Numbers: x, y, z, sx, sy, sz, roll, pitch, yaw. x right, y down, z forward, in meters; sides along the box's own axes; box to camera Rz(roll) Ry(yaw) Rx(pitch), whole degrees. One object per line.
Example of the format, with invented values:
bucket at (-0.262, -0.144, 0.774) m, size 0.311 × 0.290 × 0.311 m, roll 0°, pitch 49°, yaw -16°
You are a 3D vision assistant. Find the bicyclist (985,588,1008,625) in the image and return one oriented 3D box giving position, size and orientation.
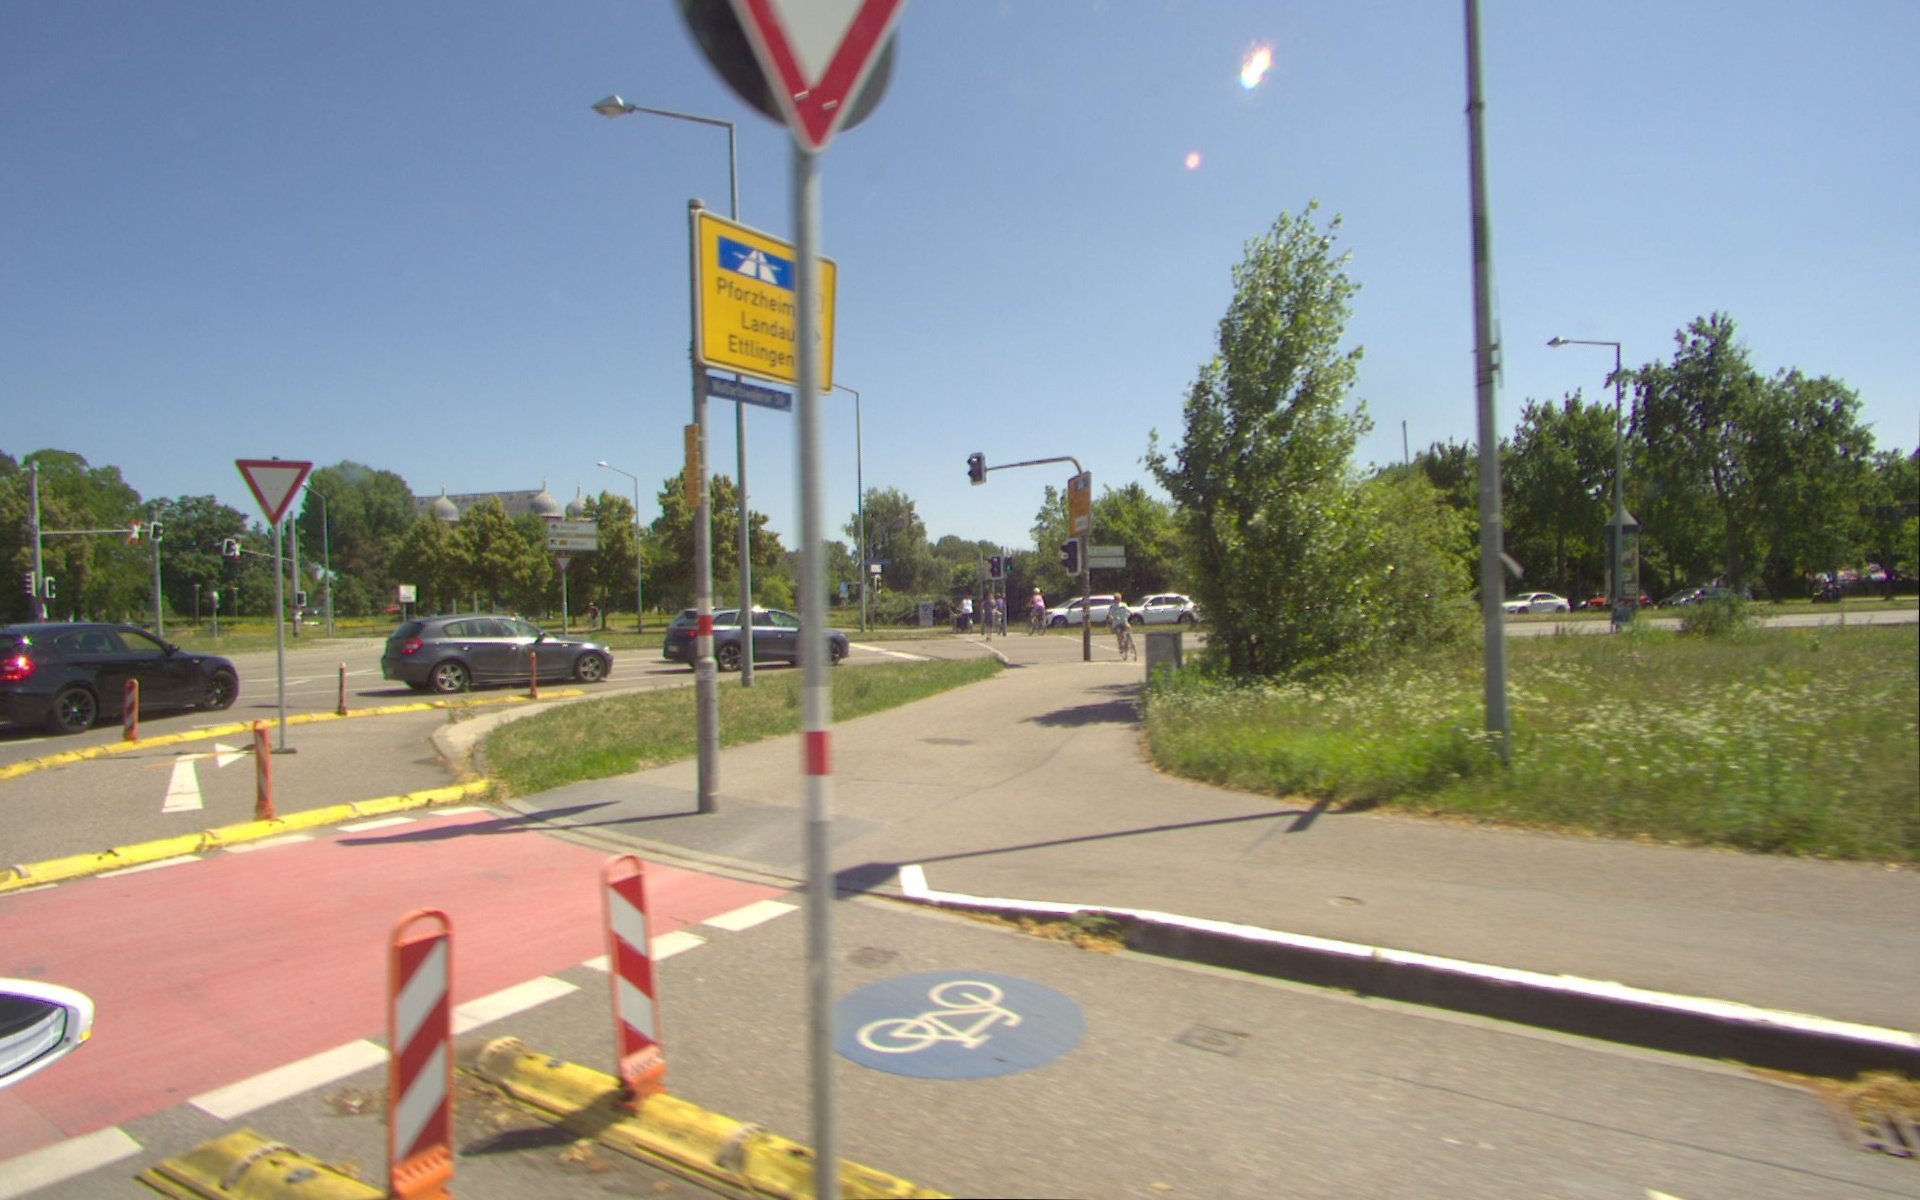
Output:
bicyclist at (1.557, 0.266, 42.594) m, size 0.941 × 1.552 × 1.185 m, roll -1°, pitch 2°, yaw 4°

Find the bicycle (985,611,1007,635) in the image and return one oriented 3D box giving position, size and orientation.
bicycle at (1.539, 0.961, 42.546) m, size 0.881 × 0.913 × 1.761 m, roll 1°, pitch 2°, yaw 5°

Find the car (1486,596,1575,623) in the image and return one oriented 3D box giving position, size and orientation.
car at (32.121, 0.541, 56.392) m, size 4.328 × 1.441 × 1.862 m, roll -1°, pitch 0°, yaw -15°

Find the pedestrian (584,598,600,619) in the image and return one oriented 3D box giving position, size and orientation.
pedestrian at (-25.958, 0.584, 70.677) m, size 0.804 × 1.469 × 0.708 m, roll -1°, pitch -1°, yaw 23°

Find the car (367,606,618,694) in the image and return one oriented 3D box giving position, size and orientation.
car at (-8.934, 0.875, 19.358) m, size 1.734 × 1.422 × 4.043 m, roll 1°, pitch 1°, yaw 43°

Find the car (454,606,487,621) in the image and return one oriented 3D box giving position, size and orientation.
car at (-67.557, 1.885, 138.245) m, size 3.930 × 2.039 × 1.997 m, roll 0°, pitch -1°, yaw -18°

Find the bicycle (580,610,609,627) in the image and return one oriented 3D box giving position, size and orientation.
bicycle at (-25.800, 1.303, 70.698) m, size 2.024 × 1.129 × 0.728 m, roll -1°, pitch -1°, yaw 23°

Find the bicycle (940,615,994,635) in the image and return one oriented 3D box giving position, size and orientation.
bicycle at (0.299, 1.178, 46.537) m, size 0.733 × 0.924 × 2.902 m, roll 0°, pitch -2°, yaw -43°

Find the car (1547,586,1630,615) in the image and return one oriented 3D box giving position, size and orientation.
car at (38.546, 0.027, 61.465) m, size 4.328 × 1.706 × 1.862 m, roll -1°, pitch 0°, yaw -15°

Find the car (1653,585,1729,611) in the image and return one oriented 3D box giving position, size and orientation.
car at (43.376, -0.091, 59.455) m, size 3.729 × 1.494 × 1.719 m, roll 0°, pitch -1°, yaw -16°

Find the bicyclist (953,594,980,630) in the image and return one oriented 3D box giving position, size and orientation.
bicyclist at (0.304, 0.561, 46.531) m, size 0.749 × 1.635 × 0.969 m, roll 0°, pitch -1°, yaw -44°

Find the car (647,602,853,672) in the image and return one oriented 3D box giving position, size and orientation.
car at (-4.945, 0.817, 23.879) m, size 4.403 × 1.437 × 1.984 m, roll -1°, pitch 1°, yaw -39°

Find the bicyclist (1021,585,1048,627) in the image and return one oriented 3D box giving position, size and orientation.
bicyclist at (3.003, 0.250, 40.495) m, size 0.941 × 1.631 × 1.186 m, roll -1°, pitch 0°, yaw -1°

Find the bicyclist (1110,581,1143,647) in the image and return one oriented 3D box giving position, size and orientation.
bicyclist at (4.316, 0.361, 25.979) m, size 0.734 × 1.662 × 1.162 m, roll -1°, pitch 1°, yaw 6°

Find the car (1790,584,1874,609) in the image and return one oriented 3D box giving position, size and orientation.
car at (54.476, -0.221, 62.574) m, size 4.328 × 1.441 × 1.862 m, roll -1°, pitch 0°, yaw -15°

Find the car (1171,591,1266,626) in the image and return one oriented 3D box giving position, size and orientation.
car at (13.162, 0.421, 50.976) m, size 4.328 × 1.706 × 1.862 m, roll -1°, pitch 0°, yaw -15°

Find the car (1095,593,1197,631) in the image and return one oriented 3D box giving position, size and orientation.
car at (8.737, 0.548, 47.066) m, size 4.328 × 1.706 × 1.862 m, roll -1°, pitch 0°, yaw -15°

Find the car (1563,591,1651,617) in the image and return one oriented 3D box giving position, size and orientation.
car at (37.518, 0.204, 58.045) m, size 4.328 × 1.441 × 1.862 m, roll -1°, pitch 0°, yaw -15°

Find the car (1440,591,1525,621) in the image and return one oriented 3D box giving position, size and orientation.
car at (30.940, 0.362, 59.332) m, size 4.328 × 1.706 × 1.862 m, roll -1°, pitch 0°, yaw -15°

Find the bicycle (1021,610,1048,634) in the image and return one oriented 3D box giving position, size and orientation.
bicycle at (3.014, 0.892, 40.623) m, size 0.881 × 0.912 × 2.226 m, roll 0°, pitch -1°, yaw -1°

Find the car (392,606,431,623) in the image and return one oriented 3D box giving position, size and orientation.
car at (-69.385, 1.824, 126.677) m, size 3.930 × 2.039 × 1.997 m, roll 0°, pitch -1°, yaw -18°

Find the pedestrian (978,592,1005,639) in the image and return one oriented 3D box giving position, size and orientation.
pedestrian at (1.125, 0.569, 36.218) m, size 0.743 × 1.658 × 0.955 m, roll 0°, pitch -1°, yaw -14°

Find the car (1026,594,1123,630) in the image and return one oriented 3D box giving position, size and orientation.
car at (5.586, 0.562, 48.924) m, size 4.328 × 1.639 × 1.862 m, roll -1°, pitch 0°, yaw -15°

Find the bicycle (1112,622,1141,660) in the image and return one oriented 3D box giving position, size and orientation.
bicycle at (4.267, 1.039, 25.767) m, size 0.617 × 0.891 × 1.876 m, roll -1°, pitch 0°, yaw 6°

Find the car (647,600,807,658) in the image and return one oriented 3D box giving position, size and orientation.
car at (-6.431, 0.748, 27.716) m, size 3.945 × 1.441 × 1.771 m, roll -1°, pitch 1°, yaw -32°

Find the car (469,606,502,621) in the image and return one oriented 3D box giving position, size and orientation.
car at (-66.997, 1.963, 141.341) m, size 3.930 × 2.039 × 1.997 m, roll 0°, pitch -1°, yaw -18°

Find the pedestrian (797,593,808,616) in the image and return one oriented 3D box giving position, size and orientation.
pedestrian at (-12.110, 0.332, 76.992) m, size 0.564 × 1.753 × 0.674 m, roll -1°, pitch -1°, yaw 16°

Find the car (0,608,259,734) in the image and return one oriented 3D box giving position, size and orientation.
car at (-12.090, 0.870, 13.975) m, size 1.768 × 1.459 × 3.999 m, roll 0°, pitch 0°, yaw 1°
